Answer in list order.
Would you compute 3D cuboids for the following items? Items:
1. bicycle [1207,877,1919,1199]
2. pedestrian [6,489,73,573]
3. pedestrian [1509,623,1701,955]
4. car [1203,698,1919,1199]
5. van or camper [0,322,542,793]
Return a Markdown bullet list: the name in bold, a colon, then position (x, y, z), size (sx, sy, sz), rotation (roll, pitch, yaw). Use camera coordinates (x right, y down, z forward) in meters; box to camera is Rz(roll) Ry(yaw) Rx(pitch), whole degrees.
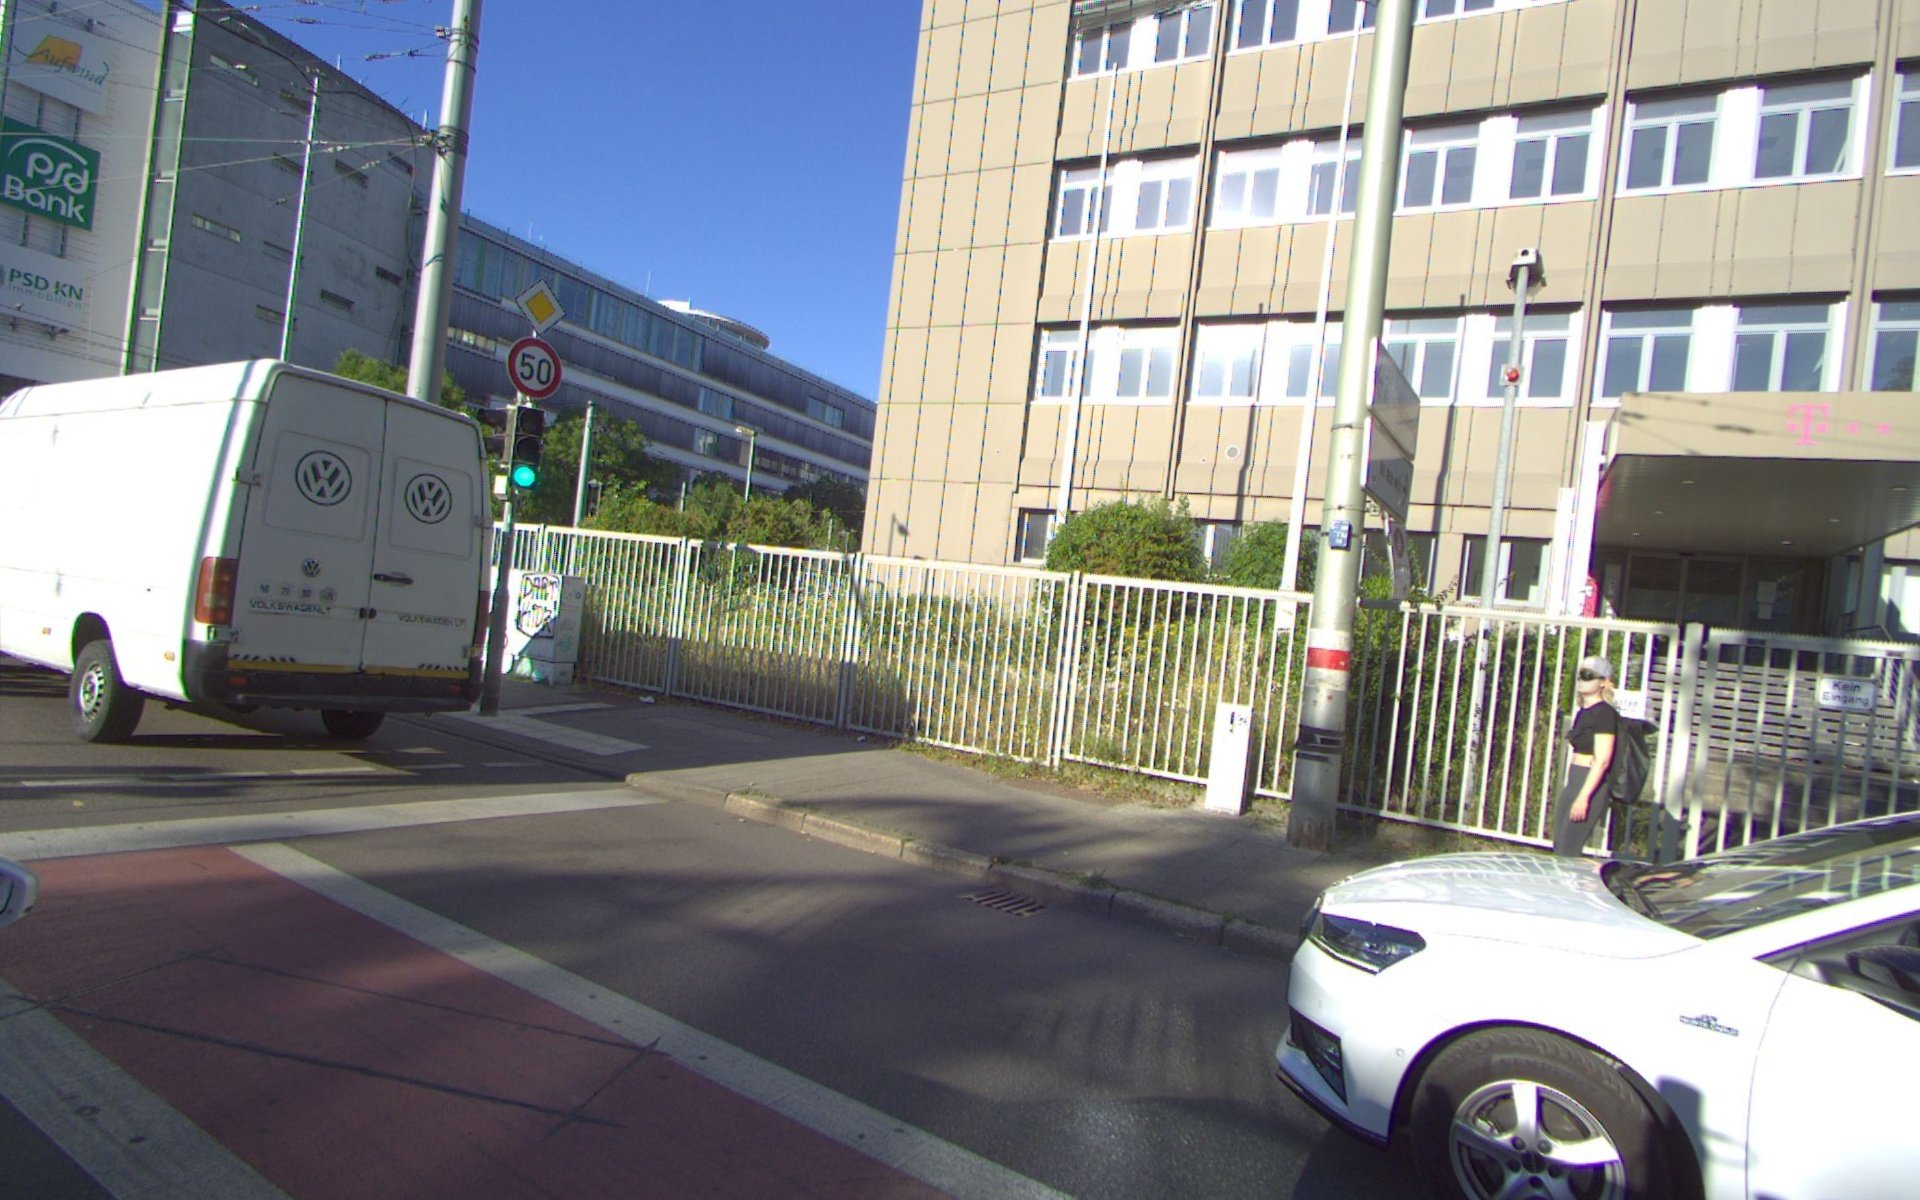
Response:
- **bicycle**: position (1.396, 1.148, 0.866), size (2.270, 1.158, 0.763), rotation (6, 0, 34)
- **pedestrian**: position (-21.787, -1.633, 23.801), size (1.196, 1.846, 0.778), rotation (7, 0, 34)
- **pedestrian**: position (3.868, 1.082, 6.062), size (0.758, 1.784, 0.591), rotation (7, 0, 34)
- **car**: position (2.947, 1.265, 2.754), size (4.006, 1.405, 1.705), rotation (6, -2, 30)
- **van or camper**: position (-6.427, -0.451, 8.268), size (6.199, 2.748, 1.972), rotation (6, -1, 31)
